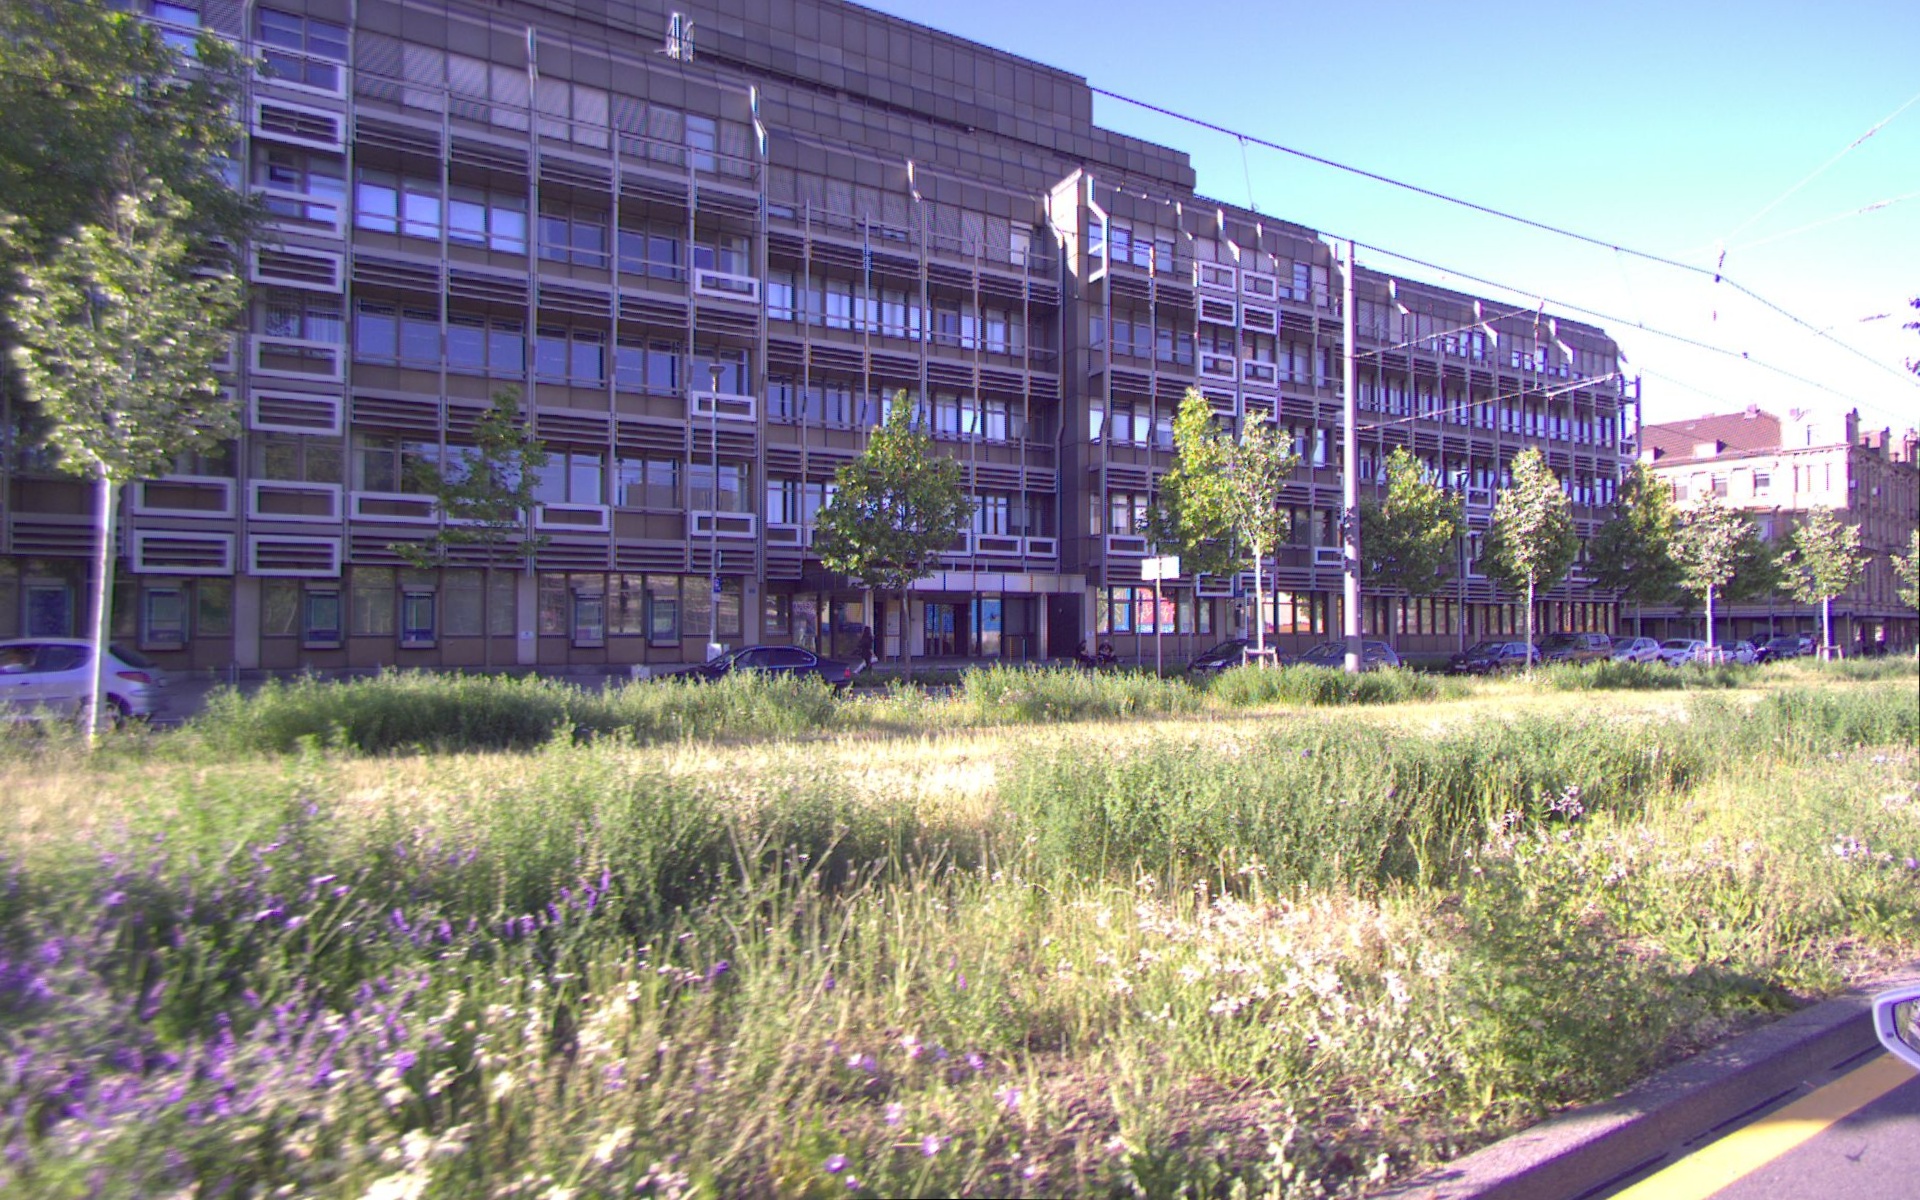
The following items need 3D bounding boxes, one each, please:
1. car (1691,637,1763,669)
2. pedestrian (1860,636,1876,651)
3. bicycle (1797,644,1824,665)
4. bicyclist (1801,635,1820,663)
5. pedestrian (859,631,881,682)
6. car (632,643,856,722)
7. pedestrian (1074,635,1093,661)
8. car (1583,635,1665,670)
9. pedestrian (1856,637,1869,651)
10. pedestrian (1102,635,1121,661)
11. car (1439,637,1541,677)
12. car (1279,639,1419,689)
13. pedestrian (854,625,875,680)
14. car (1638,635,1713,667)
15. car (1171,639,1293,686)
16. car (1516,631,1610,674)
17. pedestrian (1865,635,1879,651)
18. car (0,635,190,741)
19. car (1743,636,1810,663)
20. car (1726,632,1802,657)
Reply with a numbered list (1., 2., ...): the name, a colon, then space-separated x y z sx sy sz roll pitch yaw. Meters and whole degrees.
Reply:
1. car: 40.418 2.770 52.940 3.919 1.574 1.642 1 -2 -30
2. pedestrian: 75.457 3.592 83.476 0.920 1.224 0.785 2 -2 -36
3. bicycle: 44.825 2.859 52.942 1.750 1.110 0.562 1 -3 -31
4. bicyclist: 44.853 2.594 52.967 0.698 1.476 0.562 1 -2 -31
5. pedestrian: -2.812 1.759 31.415 0.529 1.599 0.519 1 -2 -26
6. car: -4.519 1.674 21.218 4.362 1.515 1.621 1 -2 -28
7. pedestrian: 4.860 1.886 39.490 0.492 0.999 0.615 1 -2 -27
8. car: 31.184 2.430 47.147 3.838 1.556 1.730 1 -1 -30
9. pedestrian: 74.334 3.626 82.724 0.729 1.073 0.685 2 -2 -36
10. pedestrian: 6.039 1.916 40.138 0.492 0.999 0.615 1 -2 -27
11. car: 21.937 2.328 41.538 4.453 1.488 1.720 1 0 -31
12. car: 11.619 1.863 29.967 3.988 1.405 1.710 1 -2 -28
13. pedestrian: -3.091 1.700 32.433 0.529 1.744 0.519 1 -2 -26
14. car: 35.461 2.501 49.740 3.774 1.460 1.617 1 -1 -30
15. car: 9.369 2.114 34.523 3.991 1.406 1.708 1 1 -30
16. car: 26.817 2.298 44.624 4.279 1.795 1.742 1 -1 -30
17. pedestrian: 73.781 3.467 81.233 0.920 1.263 0.685 2 -2 -36
18. car: -14.083 1.291 15.084 3.732 1.515 1.621 1 -2 -28
19. car: 46.722 2.809 57.462 3.855 1.481 1.722 1 -1 -31
20. car: 63.835 3.492 79.791 1.884 1.928 4.470 2 -3 -41
